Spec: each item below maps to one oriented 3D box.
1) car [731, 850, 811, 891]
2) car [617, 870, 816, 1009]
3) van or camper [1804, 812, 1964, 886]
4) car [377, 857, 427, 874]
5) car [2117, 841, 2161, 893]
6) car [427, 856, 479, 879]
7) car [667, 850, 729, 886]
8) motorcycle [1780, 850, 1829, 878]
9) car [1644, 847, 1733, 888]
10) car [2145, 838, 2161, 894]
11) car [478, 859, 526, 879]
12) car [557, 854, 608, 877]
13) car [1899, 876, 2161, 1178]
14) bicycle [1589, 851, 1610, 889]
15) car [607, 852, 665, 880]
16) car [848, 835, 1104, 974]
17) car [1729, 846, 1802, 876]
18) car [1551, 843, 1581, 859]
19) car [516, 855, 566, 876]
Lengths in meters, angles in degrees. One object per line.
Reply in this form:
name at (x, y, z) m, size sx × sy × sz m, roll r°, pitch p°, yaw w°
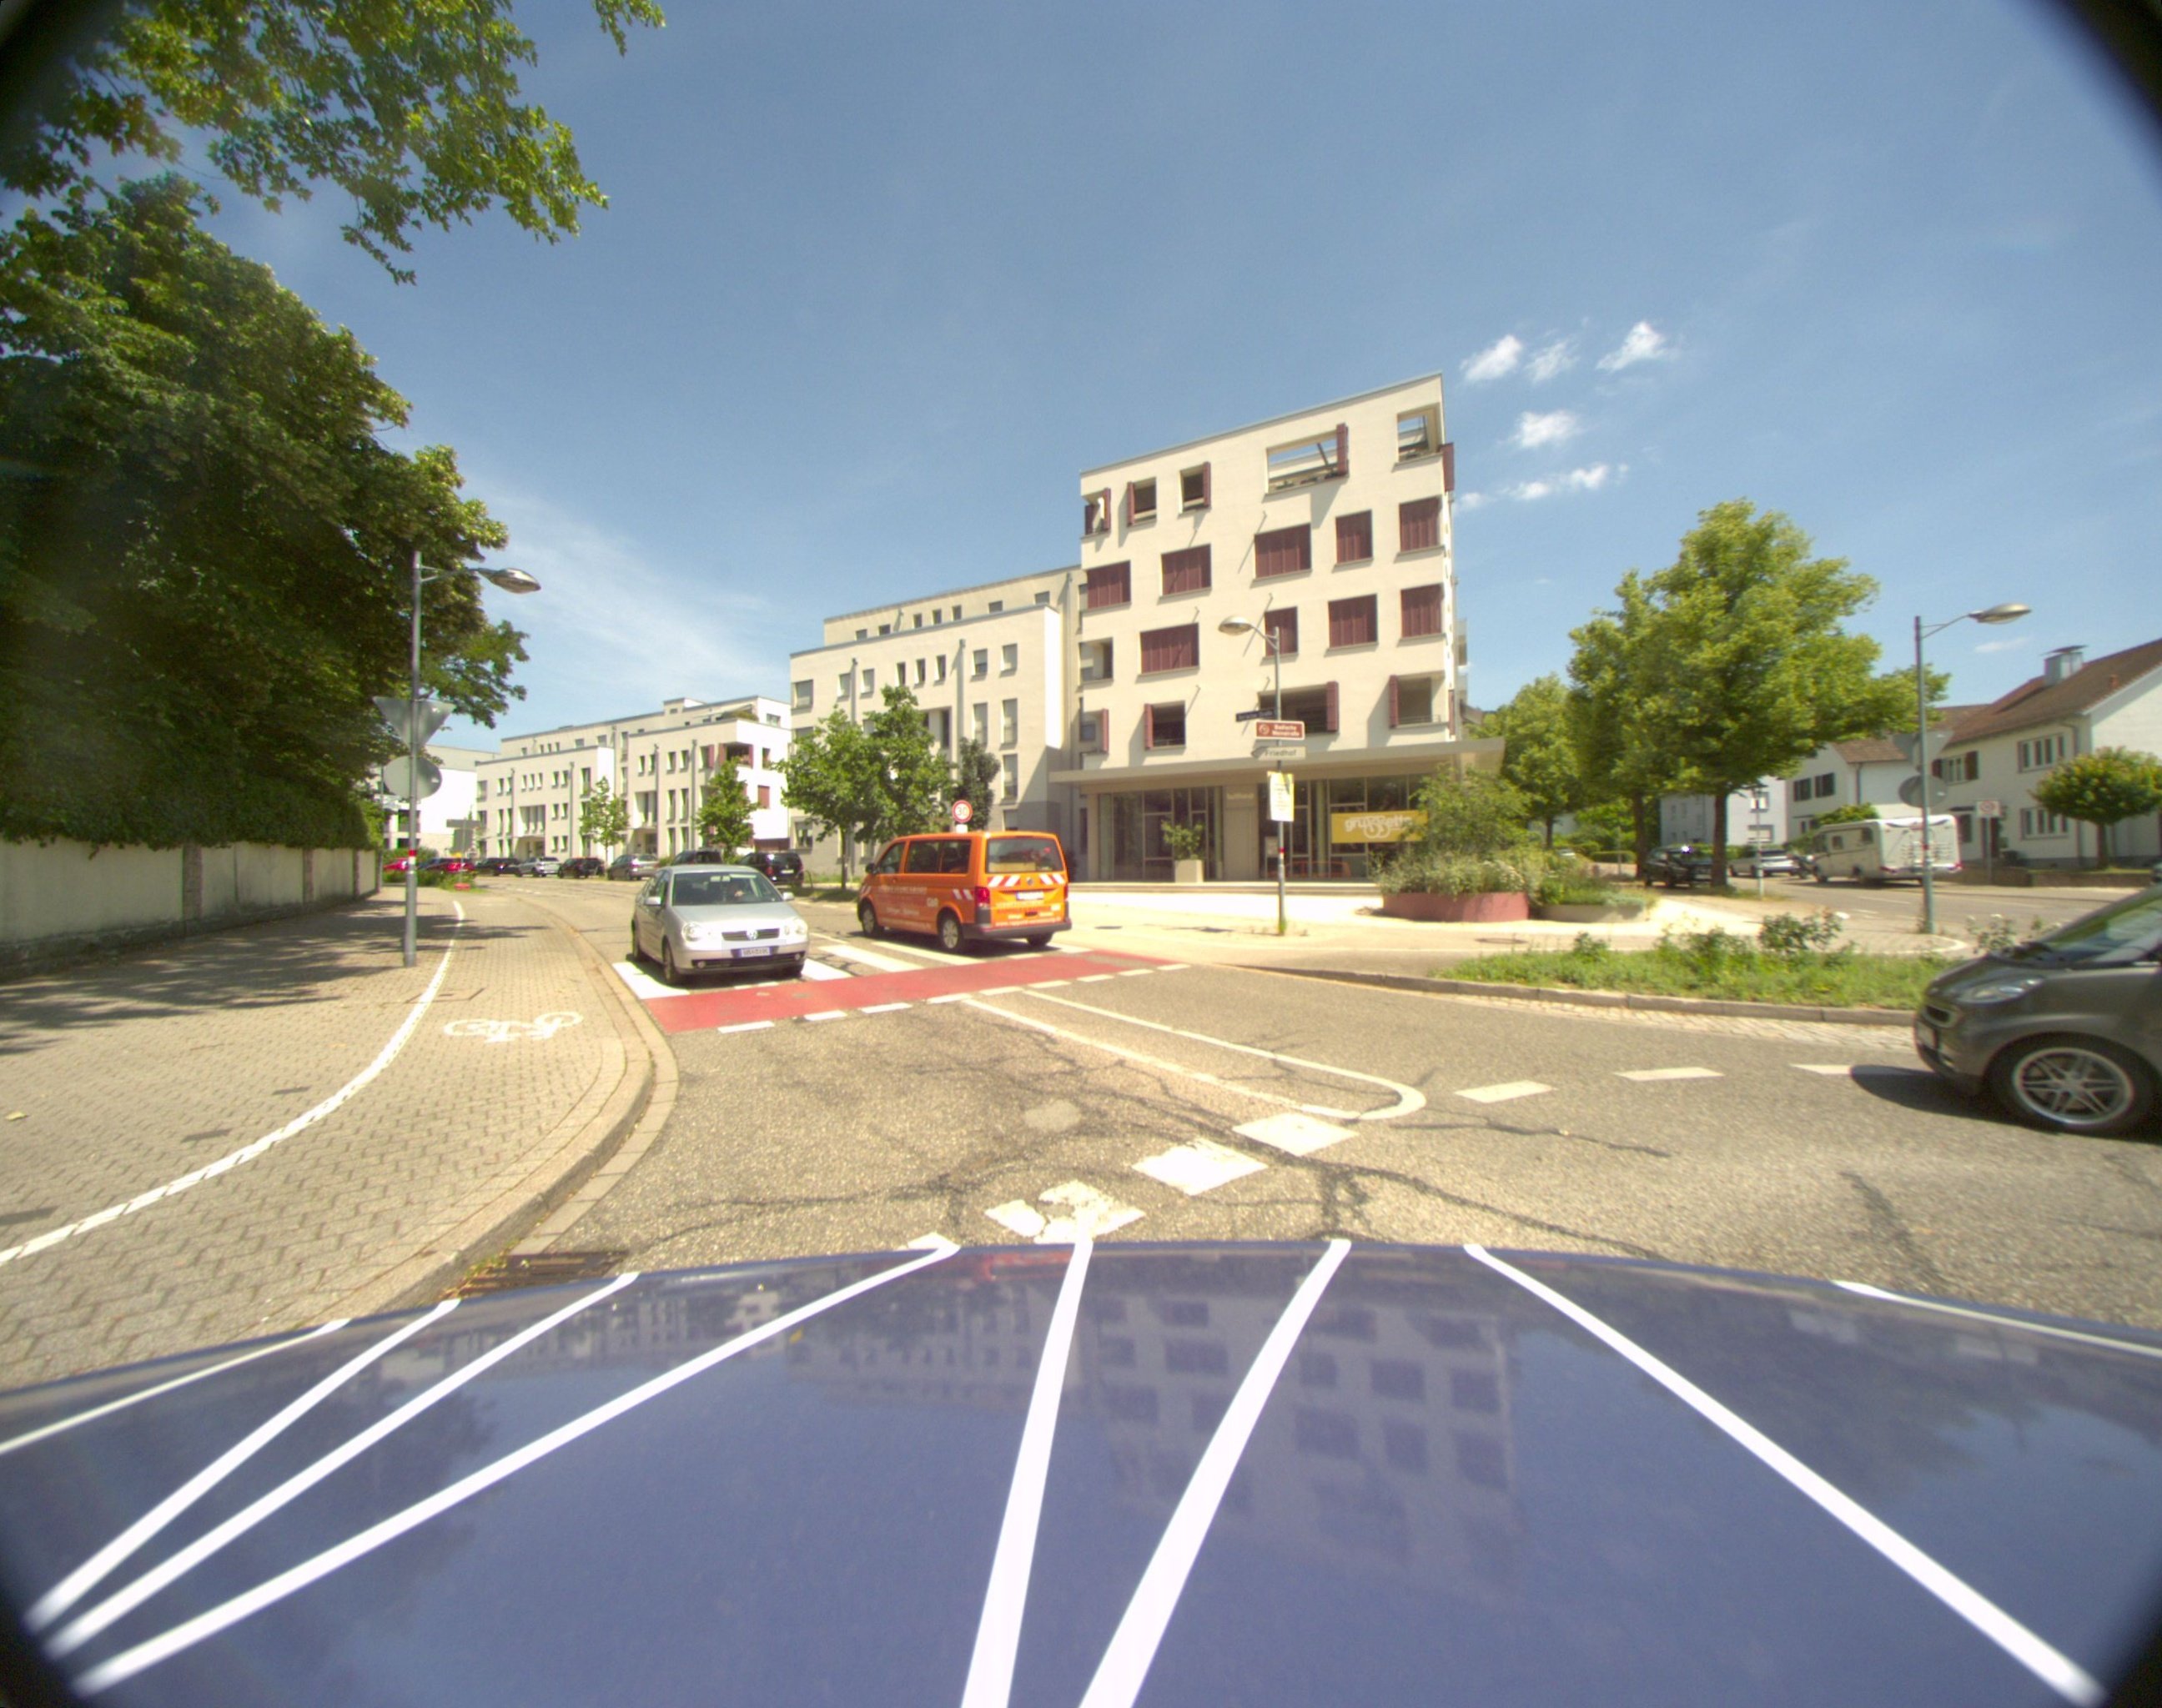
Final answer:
car at (-13.154, 0.646, 32.149) m, size 4.009 × 1.628 × 1.703 m, roll 1°, pitch 1°, yaw 45°
car at (-5.198, 1.000, 10.552) m, size 1.611 × 1.443 × 3.989 m, roll -1°, pitch 1°, yaw -39°
van or camper at (32.240, -0.180, 30.825) m, size 2.269 × 2.622 × 5.895 m, roll -3°, pitch -1°, yaw 24°
car at (-57.433, 0.957, 64.249) m, size 3.712 × 1.405 × 1.710 m, roll 0°, pitch 1°, yaw 23°
car at (35.115, 0.379, 23.091) m, size 3.983 × 1.577 × 1.759 m, roll 0°, pitch 0°, yaw 20°
car at (-43.036, 0.931, 52.025) m, size 3.981 × 1.496 × 1.760 m, roll 0°, pitch 0°, yaw 35°
car at (-19.381, 0.657, 38.367) m, size 3.617 × 1.690 × 1.703 m, roll 1°, pitch 1°, yaw 45°
motorcycle at (34.333, 0.466, 36.063) m, size 2.235 × 1.312 × 0.738 m, roll 0°, pitch 1°, yaw -19°
car at (23.822, 0.489, 29.955) m, size 1.752 × 1.496 × 3.999 m, roll 0°, pitch 0°, yaw 23°
car at (32.575, 0.327, 20.755) m, size 3.986 × 1.577 × 1.758 m, roll 0°, pitch 0°, yaw 11°
car at (-43.737, 1.099, 57.350) m, size 3.711 × 1.405 × 1.710 m, roll 0°, pitch 1°, yaw 33°
car at (-32.919, 0.731, 50.171) m, size 3.617 × 1.405 × 1.711 m, roll 0°, pitch 1°, yaw 38°
car at (6.611, 0.899, 4.121) m, size 2.781 × 1.521 × 1.573 m, roll -2°, pitch -1°, yaw 41°
bicycle at (19.039, 0.569, 27.908) m, size 0.568 × 1.370 × 1.751 m, roll 1°, pitch 1°, yaw 32°
car at (-26.347, 0.664, 44.960) m, size 3.617 × 1.580 × 1.795 m, roll 0°, pitch 1°, yaw 40°
car at (-2.030, 0.682, 13.218) m, size 1.954 × 1.948 × 5.006 m, roll -2°, pitch 2°, yaw -41°
car at (36.041, 0.351, 40.113) m, size 1.752 × 1.496 × 3.999 m, roll 0°, pitch 0°, yaw 25°
car at (52.342, -0.337, 82.094) m, size 1.995 × 1.657 × 4.005 m, roll 0°, pitch 2°, yaw 22°
car at (-38.197, 0.813, 53.735) m, size 3.710 × 1.405 × 1.711 m, roll 0°, pitch 1°, yaw 35°
